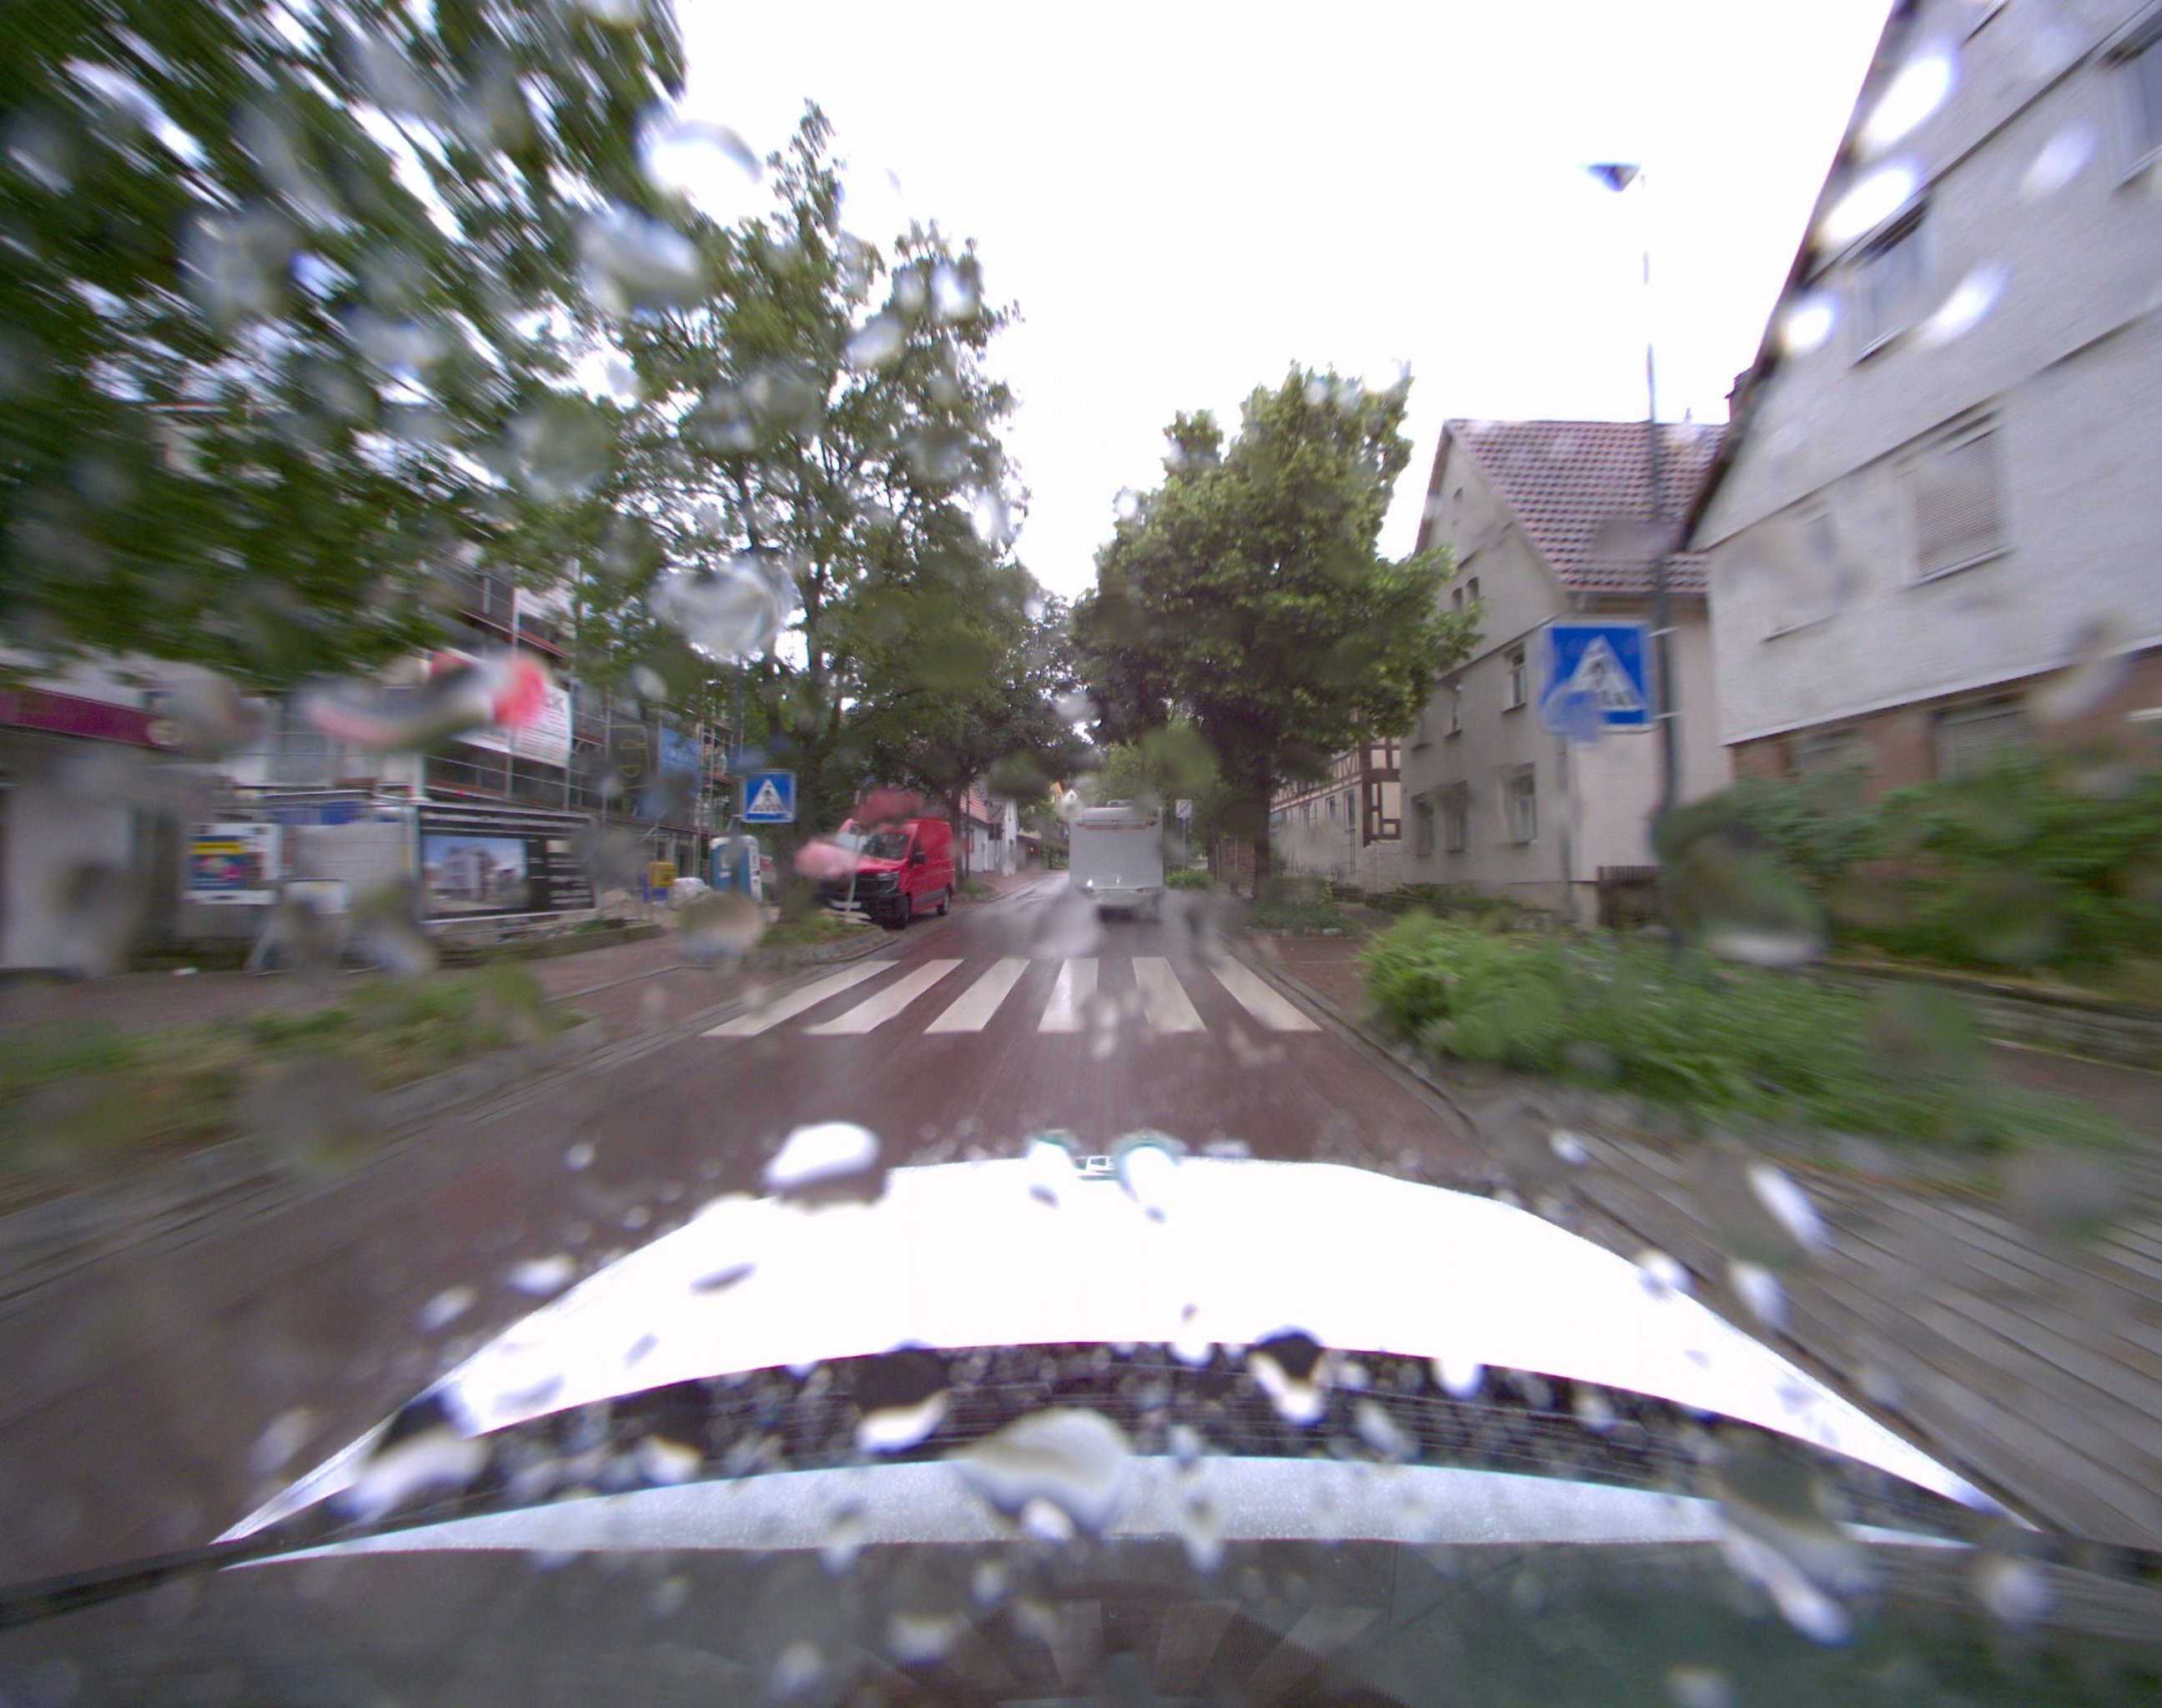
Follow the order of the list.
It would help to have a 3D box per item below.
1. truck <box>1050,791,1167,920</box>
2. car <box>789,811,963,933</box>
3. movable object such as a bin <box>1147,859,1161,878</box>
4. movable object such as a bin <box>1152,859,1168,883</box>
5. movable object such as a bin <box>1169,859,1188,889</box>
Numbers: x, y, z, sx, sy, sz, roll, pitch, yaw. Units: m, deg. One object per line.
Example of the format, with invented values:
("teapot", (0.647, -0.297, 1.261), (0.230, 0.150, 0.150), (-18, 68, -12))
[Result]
("truck", (0.722, 0.046, 21.893), (2.684, 2.986, 6.239), (0, 0, 2))
("car", (-4.618, 0.336, 19.535), (2.293, 2.483, 5.792), (0, 0, 4))
("movable object such as a bin", (4.465, 0.892, 50.027), (0.766, 1.107, 0.885), (-2, -1, 2))
("movable object such as a bin", (3.842, 0.808, 39.643), (0.721, 1.143, 0.703), (0, -1, -1))
("movable object such as a bin", (4.038, 0.825, 33.710), (0.718, 1.213, 0.727), (0, -1, 2))
